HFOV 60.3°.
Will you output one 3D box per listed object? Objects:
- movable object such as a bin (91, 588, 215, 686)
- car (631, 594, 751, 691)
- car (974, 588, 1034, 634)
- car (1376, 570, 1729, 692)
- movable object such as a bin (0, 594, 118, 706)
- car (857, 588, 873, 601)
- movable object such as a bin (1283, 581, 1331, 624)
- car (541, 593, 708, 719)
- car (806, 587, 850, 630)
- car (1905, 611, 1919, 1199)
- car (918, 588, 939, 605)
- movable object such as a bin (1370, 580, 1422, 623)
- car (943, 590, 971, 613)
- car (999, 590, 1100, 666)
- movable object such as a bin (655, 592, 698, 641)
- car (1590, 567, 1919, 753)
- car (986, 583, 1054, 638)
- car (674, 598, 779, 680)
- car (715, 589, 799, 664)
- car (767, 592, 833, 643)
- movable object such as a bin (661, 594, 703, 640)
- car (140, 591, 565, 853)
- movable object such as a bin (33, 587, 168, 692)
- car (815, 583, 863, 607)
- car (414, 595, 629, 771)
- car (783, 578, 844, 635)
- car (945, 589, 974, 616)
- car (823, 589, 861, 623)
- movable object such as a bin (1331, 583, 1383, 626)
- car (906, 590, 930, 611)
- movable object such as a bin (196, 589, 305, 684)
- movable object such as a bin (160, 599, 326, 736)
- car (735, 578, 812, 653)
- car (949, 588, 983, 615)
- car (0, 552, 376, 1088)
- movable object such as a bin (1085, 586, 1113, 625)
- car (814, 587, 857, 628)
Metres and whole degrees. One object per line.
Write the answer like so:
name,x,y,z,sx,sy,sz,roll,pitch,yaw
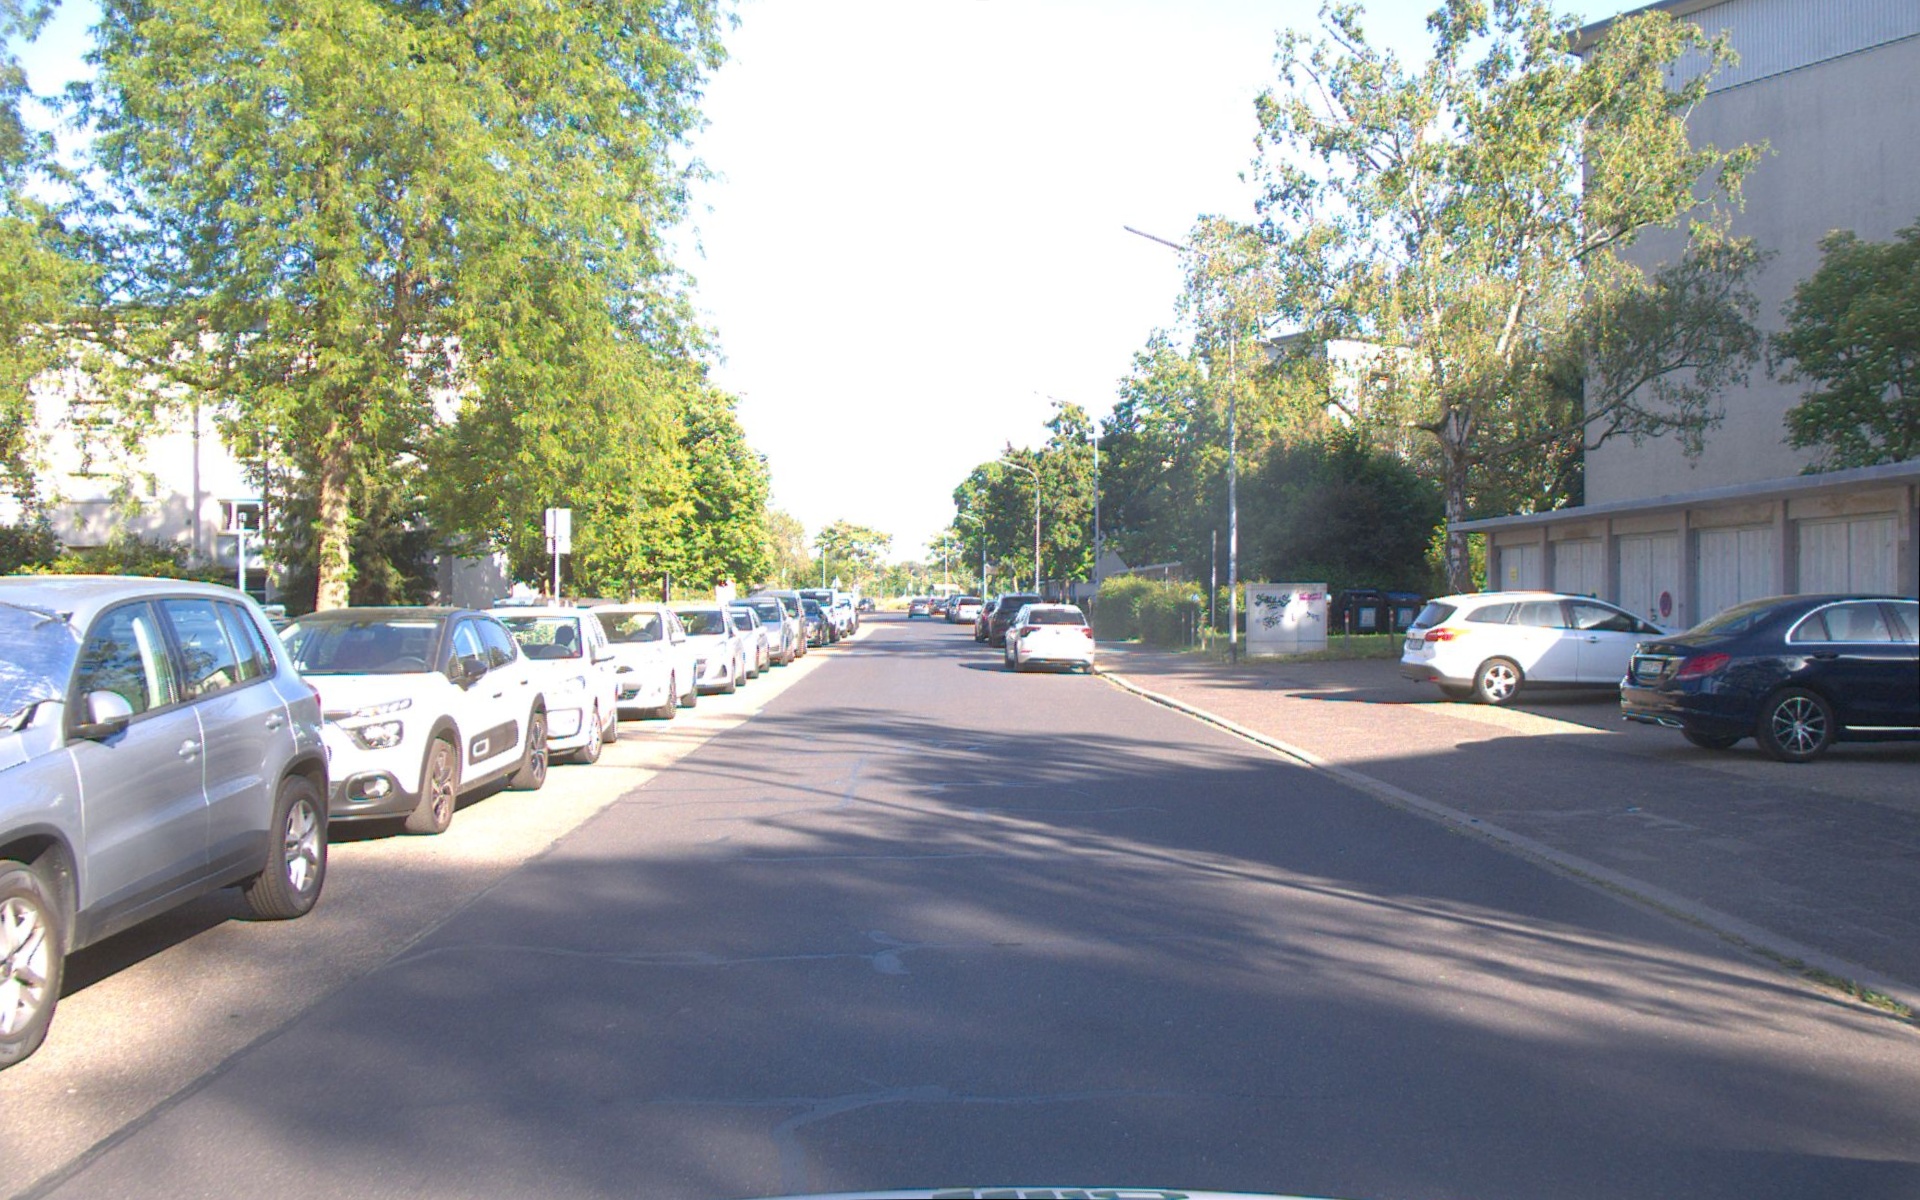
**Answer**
movable object such as a bin,-12.538,0.555,25.745,1.153,1.445,1.462,2,0,0
car,-4.662,0.692,29.083,1.653,1.532,3.815,-1,0,-3
car,1.513,0.359,58.263,1.869,1.557,4.326,0,0,-2
car,8.286,0.415,23.383,4.325,1.540,1.828,-2,0,-1
movable object such as a bin,-12.528,0.661,22.677,1.153,1.445,1.462,2,0,0
car,-11.170,-0.663,194.478,1.760,1.589,3.948,0,0,-4
movable object such as a bin,11.159,0.076,53.266,1.229,1.376,1.278,0,0,-2
car,-4.602,0.714,23.188,1.653,1.561,3.889,-2,0,-2
car,-5.525,0.353,69.442,1.712,1.699,4.374,-2,0,-4
car,3.034,0.764,1.708,1.697,1.428,3.892,1,0,-4
car,-2.896,-0.343,153.623,1.760,1.576,3.948,0,0,-4
movable object such as a bin,14.230,0.043,53.997,1.233,1.376,1.275,0,0,-12
car,-0.231,0.102,118.885,1.760,1.672,3.948,0,0,-4
car,1.904,0.560,36.313,1.719,1.540,4.101,1,0,-4
movable object such as a bin,-8.775,0.497,51.237,1.079,1.445,1.360,2,0,-1
car,8.352,0.482,15.175,4.421,1.540,1.829,-2,0,-1
car,1.843,0.297,52.385,1.869,1.668,4.627,0,0,-2
car,-4.817,0.755,34.633,1.653,1.490,4.524,-3,0,-2
car,-4.848,0.604,39.887,1.676,1.628,3.983,-3,0,-3
car,-5.266,0.550,54.881,1.710,1.560,4.139,-2,0,1
movable object such as a bin,-8.844,0.532,52.705,1.079,1.395,1.360,2,0,-1
car,-4.170,0.730,12.045,1.629,1.539,3.945,-2,0,-1
movable object such as a bin,-12.561,0.554,24.224,1.153,1.445,1.462,2,0,0
car,-10.281,-0.424,140.457,3.976,2.027,1.799,0,0,-7
car,-4.316,0.738,16.724,1.631,1.539,3.532,-2,0,-8
car,-5.394,0.216,61.417,1.876,1.997,5.086,-2,0,-1
car,-0.052,0.156,114.316,1.760,1.818,3.948,0,0,-4
car,-6.043,0.268,84.752,1.711,1.641,4.306,-2,0,-2
movable object such as a bin,12.829,0.133,53.445,1.232,1.376,1.276,0,0,-10
car,-3.257,0.038,127.208,1.646,1.540,4.101,1,0,-4
movable object such as a bin,-11.288,0.563,26.364,1.111,1.445,1.361,2,0,0
movable object such as a bin,-7.652,0.693,17.730,1.153,1.363,1.343,2,0,0
car,-5.130,0.406,46.000,1.817,1.925,4.415,-2,0,-3
car,0.337,0.065,98.465,1.760,1.589,3.948,0,0,-4
car,-3.976,0.699,6.532,1.865,1.668,4.347,-2,0,-2
movable object such as a bin,5.323,0.194,63.428,0.899,1.479,1.232,-1,0,-2
car,-5.607,0.331,75.108,1.711,1.762,4.004,-2,0,-2
